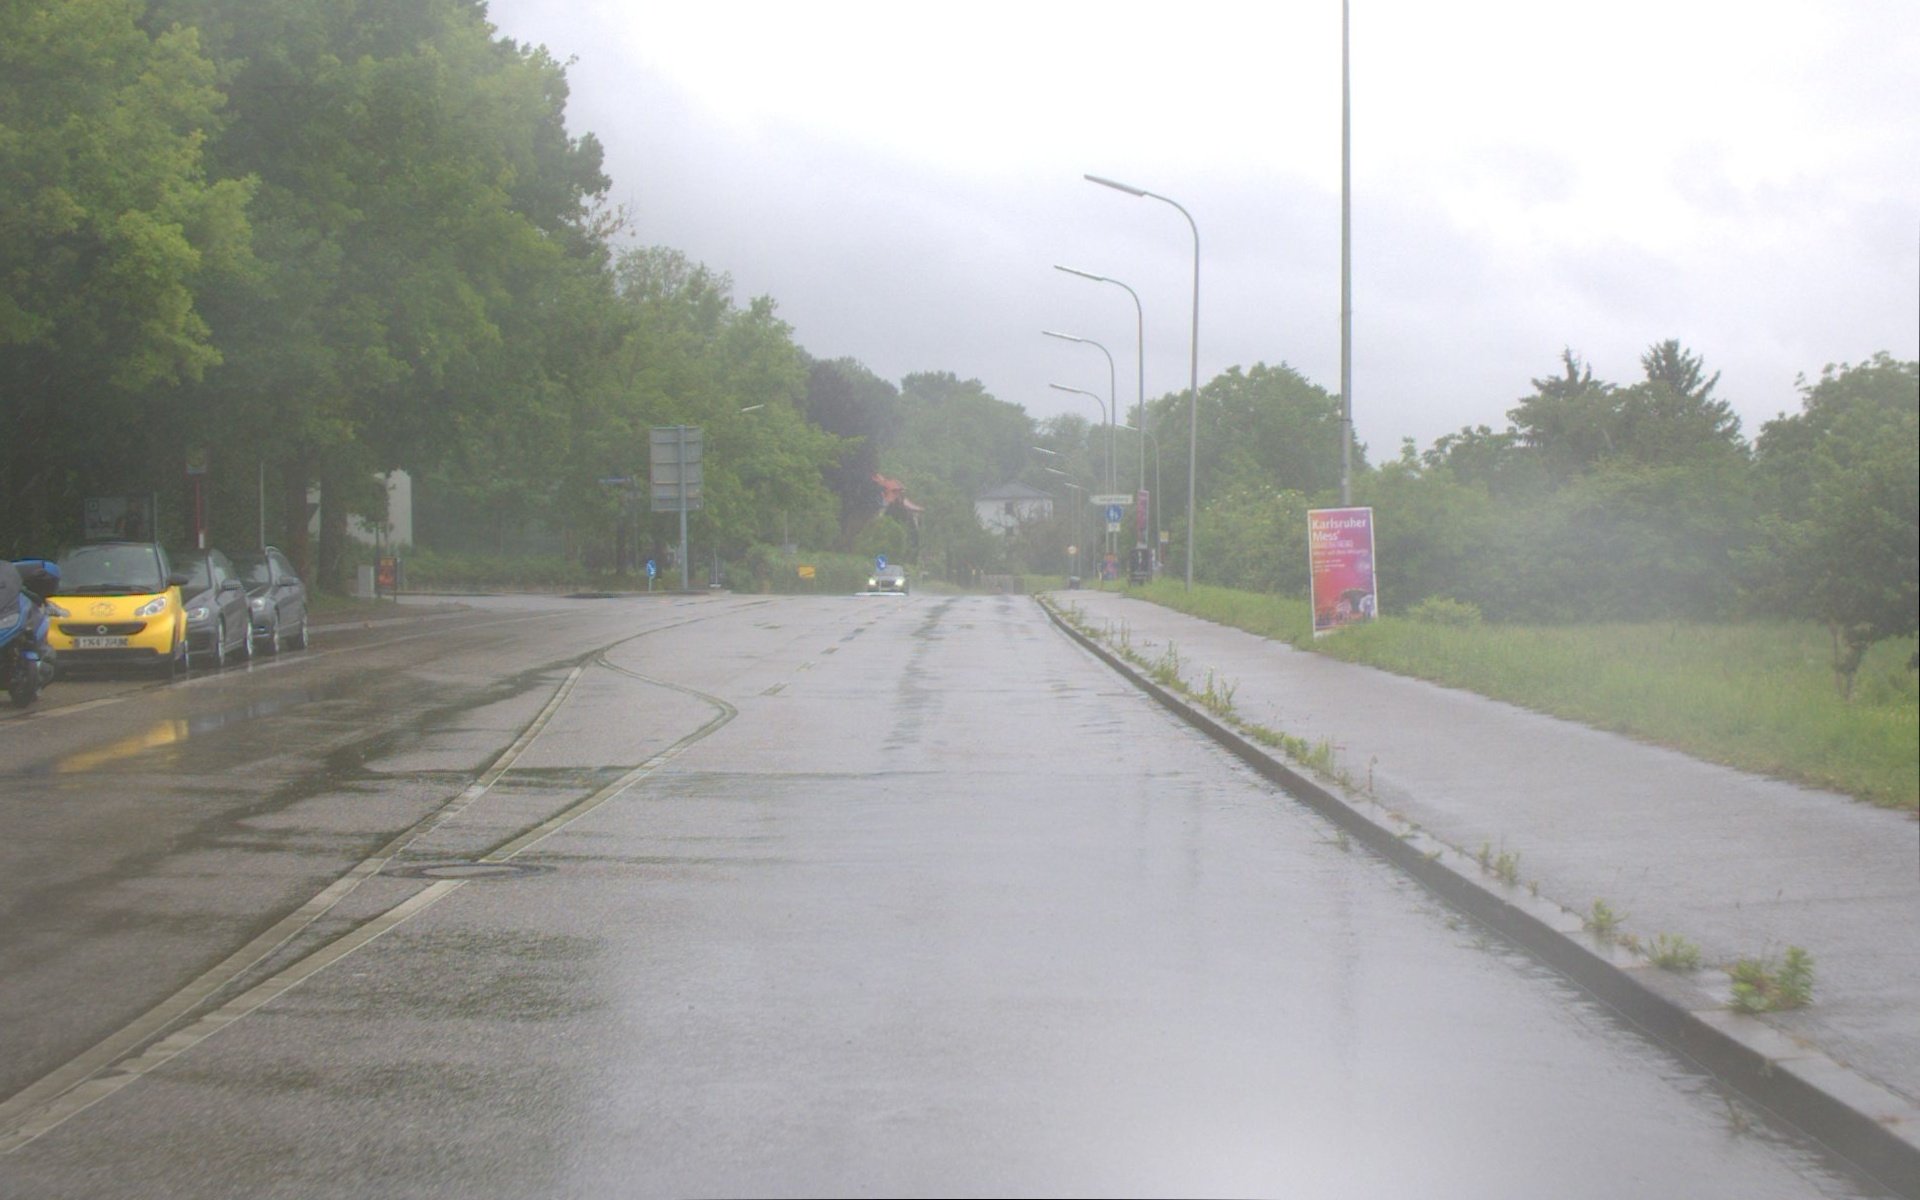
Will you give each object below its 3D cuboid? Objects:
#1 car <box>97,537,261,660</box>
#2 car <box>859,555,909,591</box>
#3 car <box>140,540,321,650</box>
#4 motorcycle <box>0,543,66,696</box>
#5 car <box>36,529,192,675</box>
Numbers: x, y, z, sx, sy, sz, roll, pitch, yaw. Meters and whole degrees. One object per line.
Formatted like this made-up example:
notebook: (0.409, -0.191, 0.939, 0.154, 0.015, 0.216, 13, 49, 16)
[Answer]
car: (-9.513, -0.045, 42.088, 1.433, 1.414, 4.105, -1, 1, -6)
car: (-3.807, -1.365, 172.583, 1.795, 1.756, 3.998, 1, 1, 9)
car: (-10.003, -0.104, 47.448, 1.686, 1.414, 4.742, -1, 1, -3)
motorcycle: (-8.768, 0.159, 31.378, 0.837, 1.336, 2.500, -1, 1, -7)
car: (-9.322, 0.001, 38.030, 1.433, 1.532, 2.820, -1, 1, -9)
